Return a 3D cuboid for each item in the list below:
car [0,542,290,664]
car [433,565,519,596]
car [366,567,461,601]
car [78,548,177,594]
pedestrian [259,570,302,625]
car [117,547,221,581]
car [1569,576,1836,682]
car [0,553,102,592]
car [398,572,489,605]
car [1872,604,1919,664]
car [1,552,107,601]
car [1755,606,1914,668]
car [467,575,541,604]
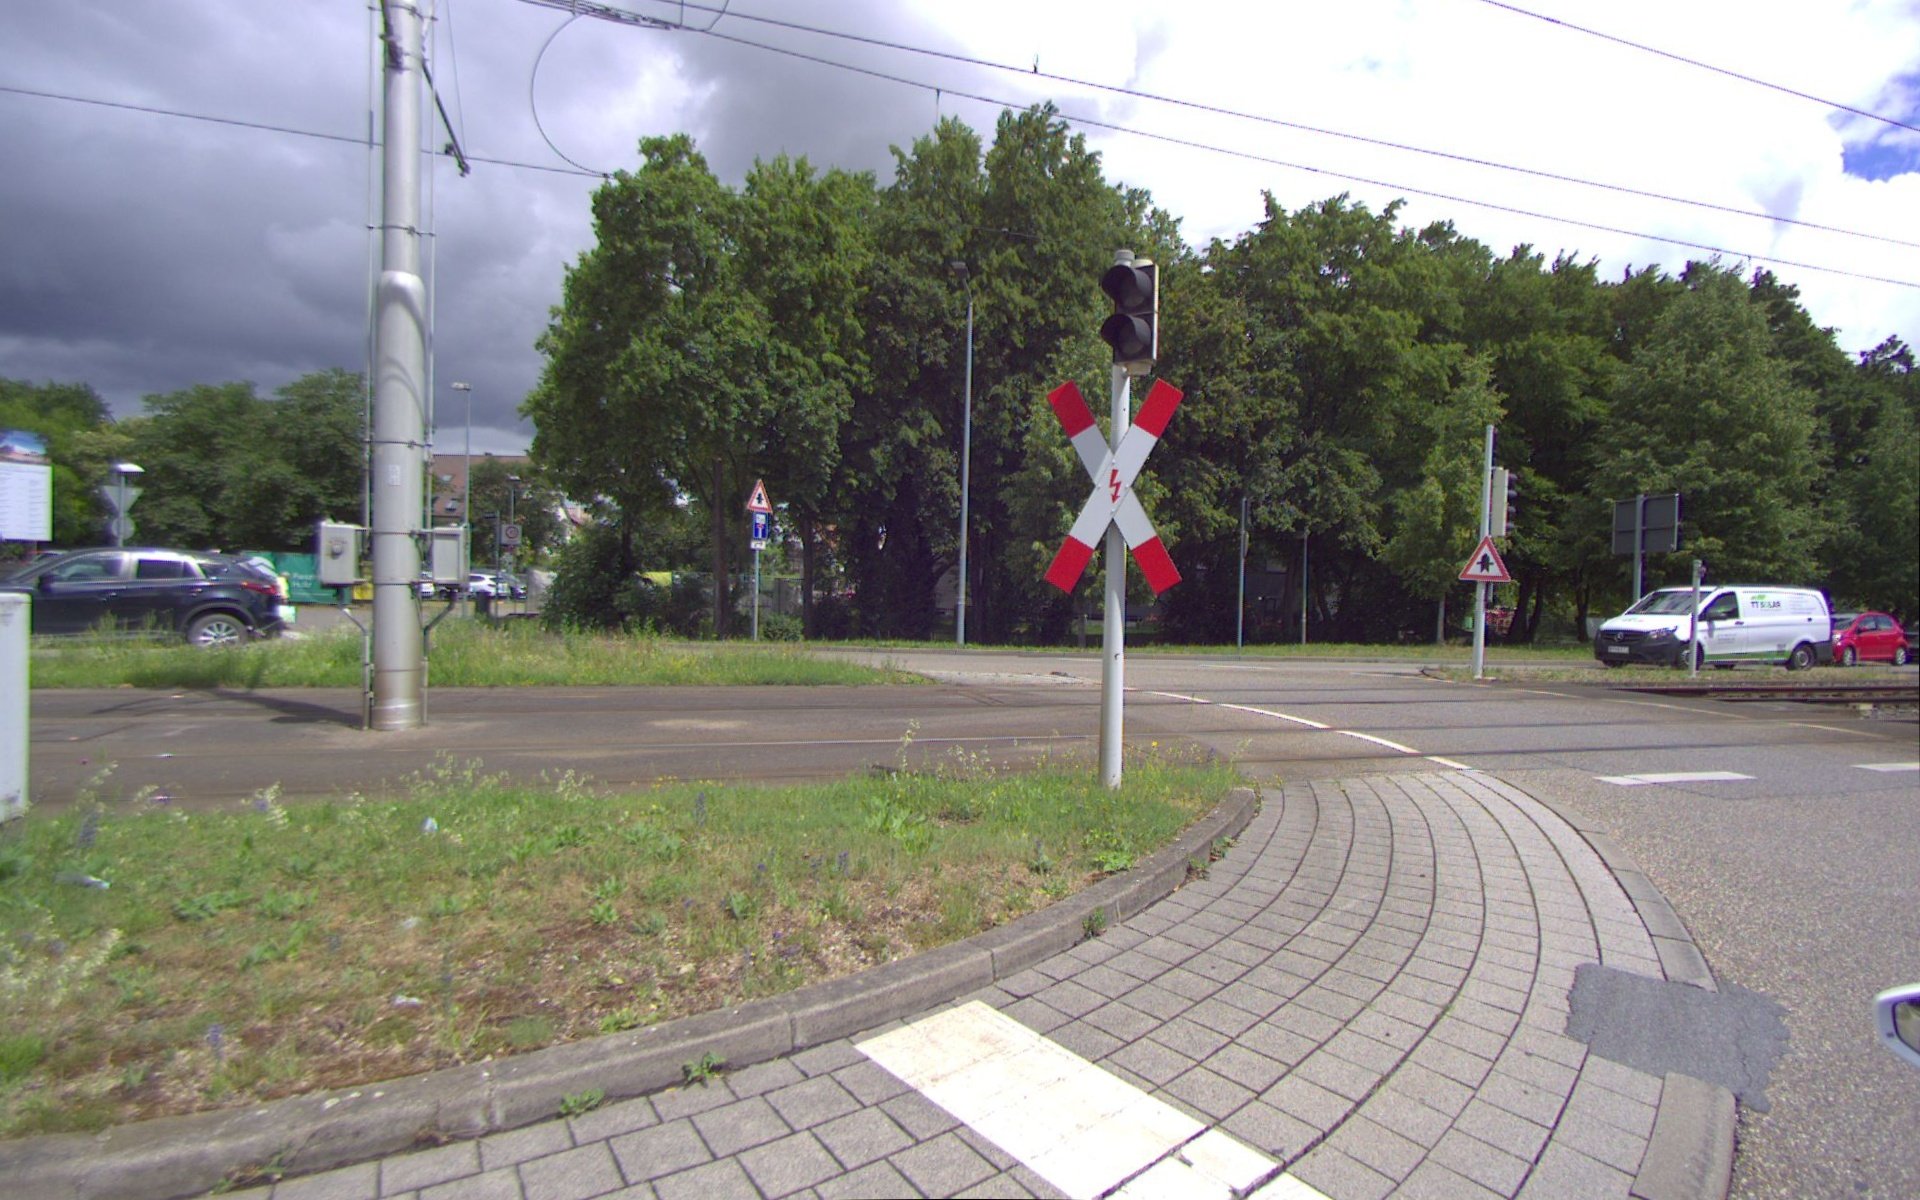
[{"bbox_3d":[-12.420,0.048,14.594,4.290,1.606,1.838,2,0,-40],"label":"car"},{"bbox_3d":[-26.146,-1.051,54.288,3.919,1.439,1.759,3,2,13],"label":"car"},{"bbox_3d":[-26.891,-0.799,49.448,3.919,1.439,1.759,3,2,13],"label":"car"},{"bbox_3d":[-34.645,-1.218,41.809,3.520,1.611,1.997,5,1,29],"label":"car"},{"bbox_3d":[-19.219,-0.069,28.412,0.883,1.477,0.747,4,2,39],"label":"pedestrian"},{"bbox_3d":[-39.581,-1.806,50.305,3.919,1.613,2.001,1,0,9],"label":"car"},{"bbox_3d":[16.391,0.633,22.221,5.148,2.045,1.875,3,2,-15],"label":"car"},{"bbox_3d":[-41.040,-1.205,44.973,3.513,1.611,2.001,1,0,3],"label":"car"},{"bbox_3d":[-26.439,-0.599,51.485,3.919,1.439,1.759,3,2,13],"label":"car"},{"bbox_3d":[28.834,1.045,29.102,4.306,1.627,1.578,2,2,-19],"label":"car"},{"bbox_3d":[-35.479,-0.931,39.336,3.520,1.611,1.997,5,1,29],"label":"car"},{"bbox_3d":[23.886,1.003,27.454,3.604,1.471,1.611,2,2,-18],"label":"car"},{"bbox_3d":[-25.552,-0.592,56.282,3.518,1.439,1.486,3,2,10],"label":"car"}]
